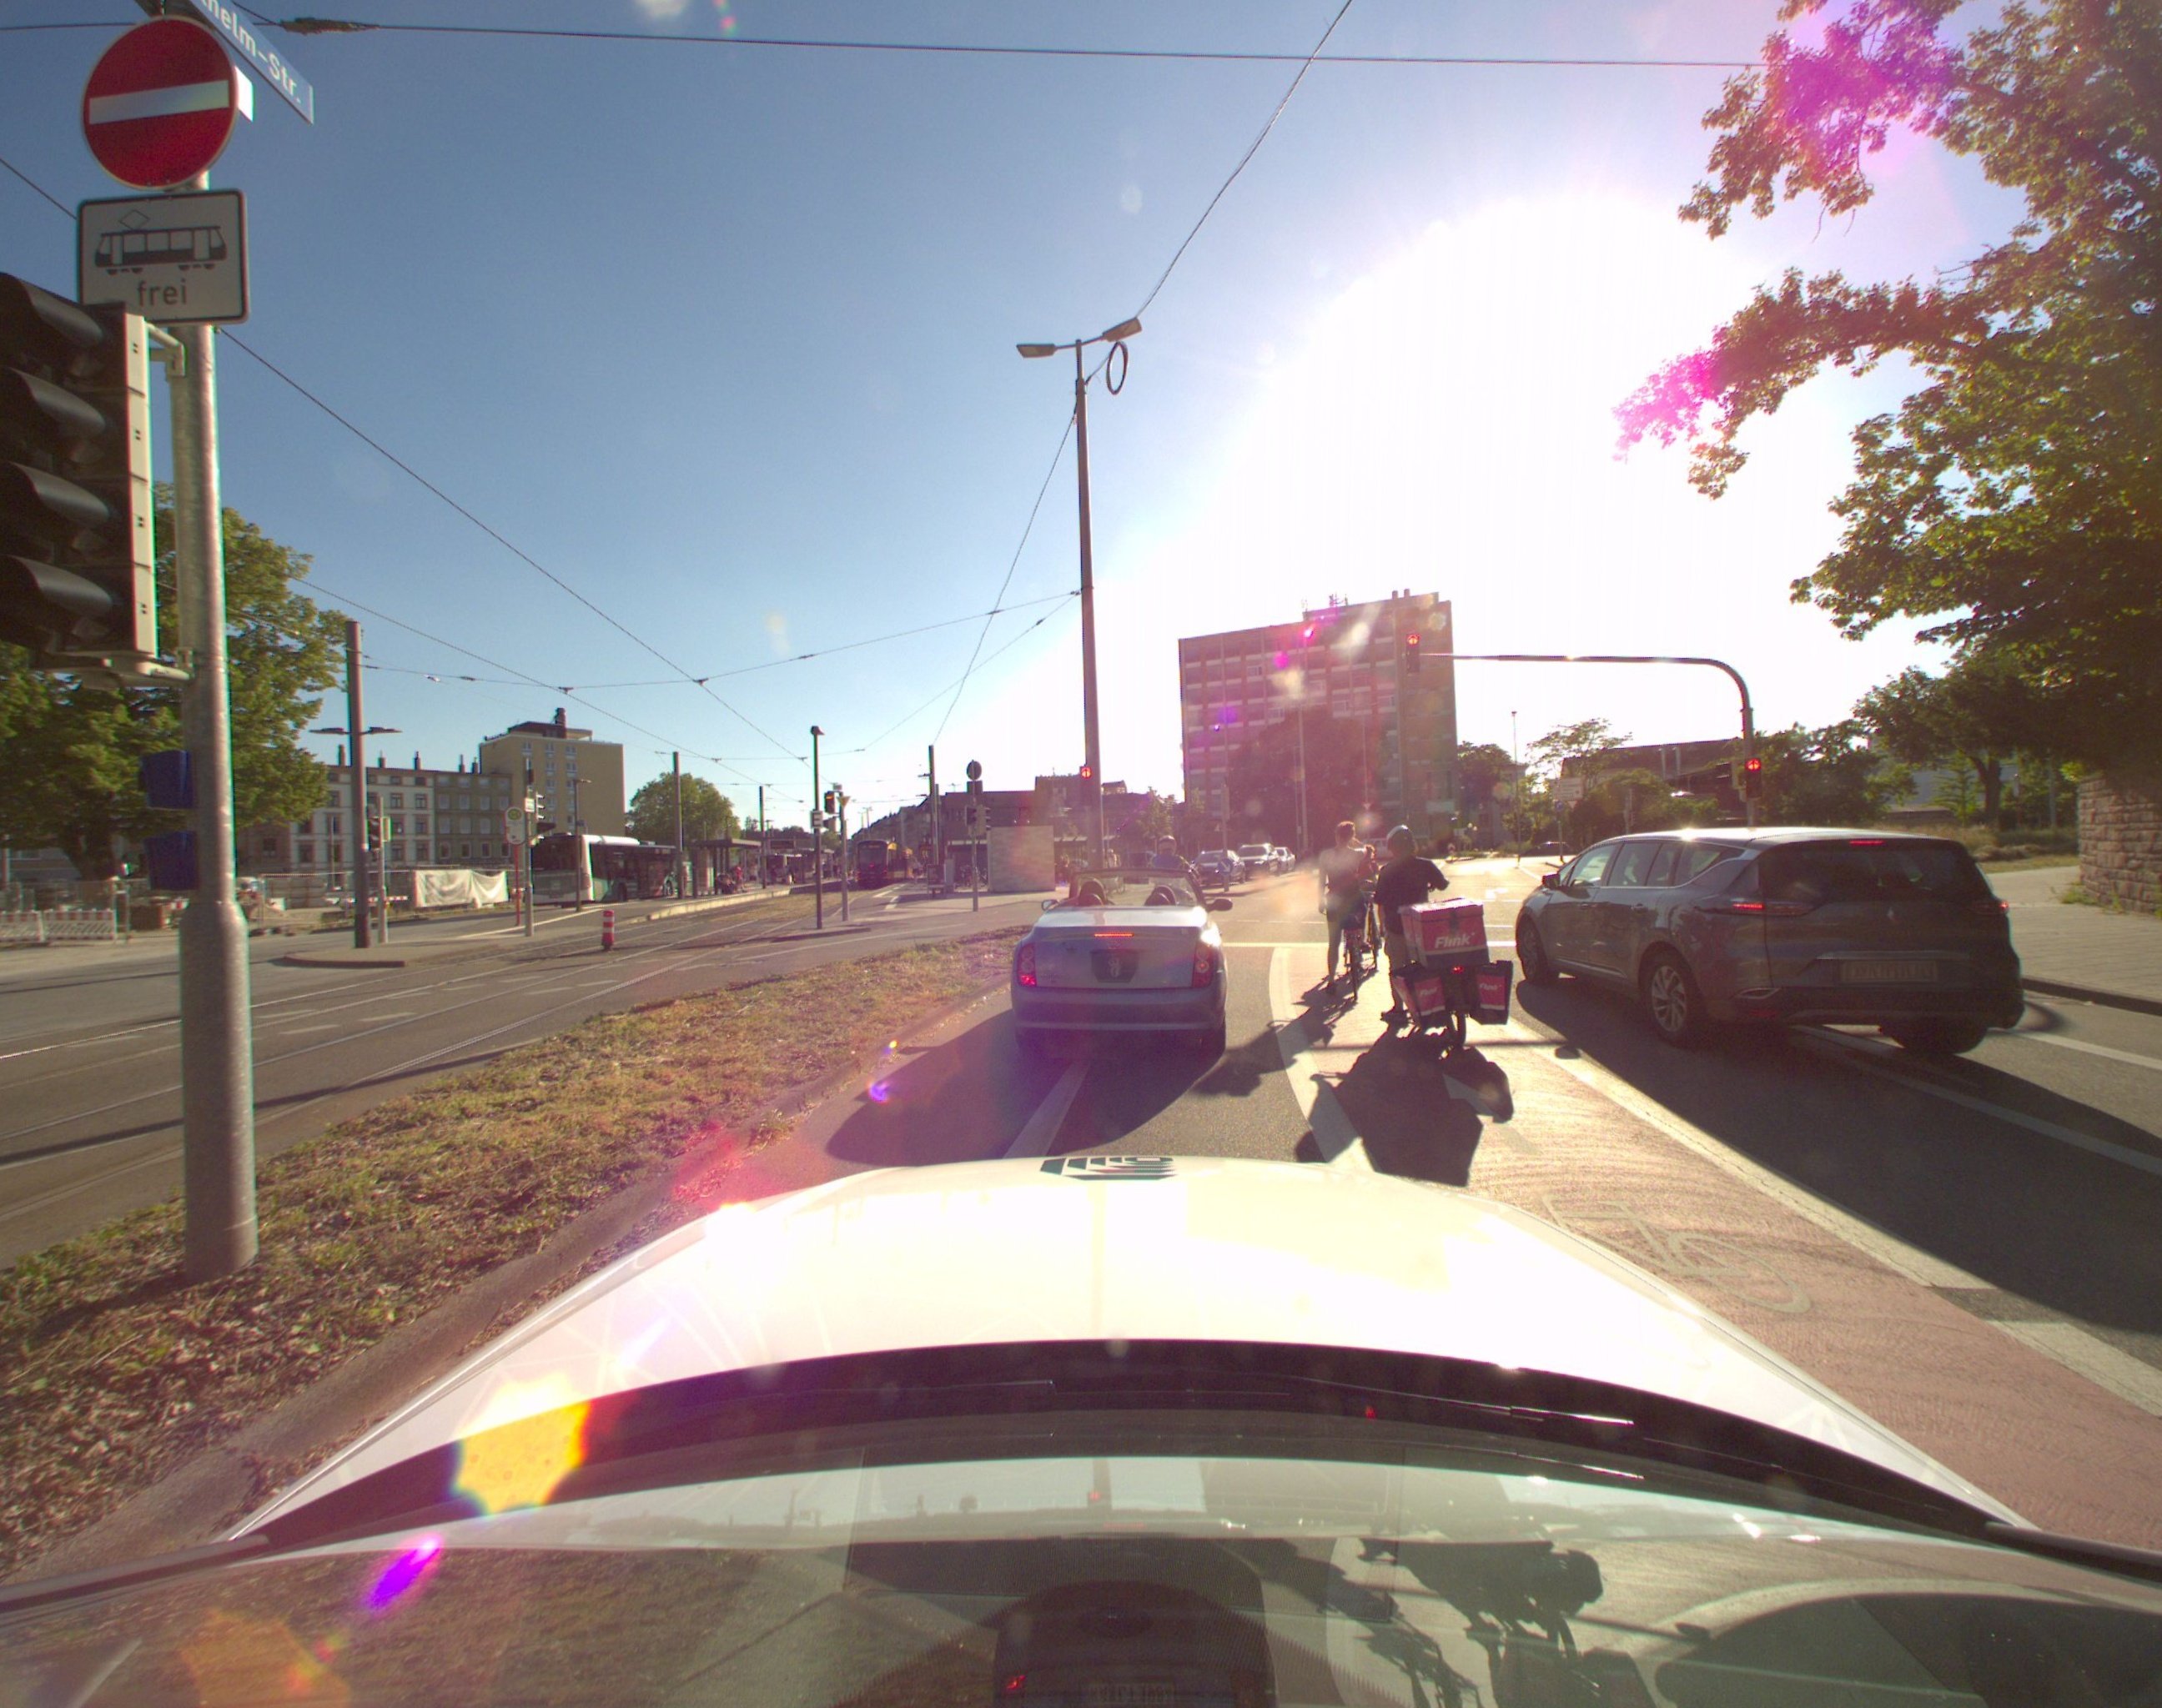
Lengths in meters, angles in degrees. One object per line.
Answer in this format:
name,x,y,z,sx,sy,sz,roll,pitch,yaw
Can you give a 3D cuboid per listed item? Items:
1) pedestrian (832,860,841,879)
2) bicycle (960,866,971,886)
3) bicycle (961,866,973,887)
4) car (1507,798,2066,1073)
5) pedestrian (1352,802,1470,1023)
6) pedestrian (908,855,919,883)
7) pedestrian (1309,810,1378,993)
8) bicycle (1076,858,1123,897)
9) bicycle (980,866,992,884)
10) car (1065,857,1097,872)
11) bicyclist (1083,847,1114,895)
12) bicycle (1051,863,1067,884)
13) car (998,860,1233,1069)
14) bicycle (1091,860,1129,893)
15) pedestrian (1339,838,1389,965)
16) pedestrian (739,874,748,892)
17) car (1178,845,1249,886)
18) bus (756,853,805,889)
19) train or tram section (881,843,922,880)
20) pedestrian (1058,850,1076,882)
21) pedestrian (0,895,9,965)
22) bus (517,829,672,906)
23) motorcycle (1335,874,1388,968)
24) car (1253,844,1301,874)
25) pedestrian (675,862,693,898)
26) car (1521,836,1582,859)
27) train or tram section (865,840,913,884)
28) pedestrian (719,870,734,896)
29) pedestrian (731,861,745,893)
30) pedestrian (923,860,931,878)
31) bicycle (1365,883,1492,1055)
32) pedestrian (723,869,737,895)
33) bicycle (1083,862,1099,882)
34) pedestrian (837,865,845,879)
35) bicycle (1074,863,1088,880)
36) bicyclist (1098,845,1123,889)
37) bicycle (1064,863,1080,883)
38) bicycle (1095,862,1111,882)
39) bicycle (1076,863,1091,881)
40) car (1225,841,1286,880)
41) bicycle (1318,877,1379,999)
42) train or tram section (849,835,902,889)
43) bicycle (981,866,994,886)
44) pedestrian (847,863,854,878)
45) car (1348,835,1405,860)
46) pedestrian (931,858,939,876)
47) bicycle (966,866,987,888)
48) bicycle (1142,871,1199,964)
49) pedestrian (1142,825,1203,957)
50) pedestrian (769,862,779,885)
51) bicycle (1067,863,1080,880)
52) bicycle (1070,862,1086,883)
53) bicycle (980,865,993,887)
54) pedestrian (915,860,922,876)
pedestrian,-22.760,1.445,75.783,0.641,1.749,0.567,-2,-1,-25
bicycle,-6.561,1.251,46.291,0.606,1.115,1.891,0,-1,-8
bicycle,-6.213,1.232,44.356,0.607,1.115,1.890,0,-1,-10
car,5.540,0.523,7.317,1.820,1.689,4.381,-1,-1,10
pedestrian,2.977,0.503,7.444,0.801,1.869,0.959,-1,-1,10
pedestrian,-10.795,0.977,52.488,0.639,1.749,0.569,-2,-1,-17
pedestrian,2.836,0.490,8.836,0.654,1.869,0.876,-1,-1,17
bicycle,0.674,0.811,28.967,0.668,1.250,2.471,-5,-1,24
bicycle,-5.902,1.287,50.621,0.607,1.115,1.890,0,-1,-10
car,-0.031,1.177,88.861,1.653,1.560,3.559,-2,0,-37
bicyclist,0.627,0.596,28.901,0.702,1.657,0.906,-5,-2,24
bicycle,-1.254,1.082,45.292,0.607,1.115,1.890,0,-1,-10
car,0.548,0.783,7.793,1.650,1.441,4.164,-1,-1,9
bicycle,1.153,0.847,31.570,0.668,1.180,2.195,-3,0,24
pedestrian,3.770,0.606,10.842,0.583,1.598,1.030,-1,-1,19
pedestrian,-34.383,2.968,83.031,0.638,1.749,0.570,-2,-1,-10
car,5.547,0.469,33.640,1.720,1.574,3.948,-1,-1,28
bus,-29.669,1.588,80.945,2.723,3.274,13.409,0,-1,-12
train or tram section,-18.602,0.814,85.226,3.037,3.597,12.021,0,0,-7
pedestrian,-0.807,0.686,46.929,0.901,1.869,0.684,0,-1,-11
pedestrian,-26.258,1.835,19.276,0.712,1.697,0.893,-3,-2,-25
bus,-22.371,0.574,38.219,2.652,3.135,9.617,0,-1,-8
motorcycle,3.827,0.844,11.102,0.608,1.097,2.371,-1,-1,19
car,11.166,0.251,46.214,1.678,1.560,4.004,-3,0,28
pedestrian,-19.621,1.273,40.261,0.536,1.749,0.559,-2,-1,-4
car,43.680,-0.622,75.607,4.645,1.945,1.927,-3,-1,35
train or tram section,-17.067,0.706,73.254,3.010,3.597,12.165,0,-1,-8
pedestrian,-18.603,1.521,42.773,0.617,1.340,0.438,-2,-1,-15
pedestrian,-19.111,1.276,45.336,0.571,1.749,0.636,-2,-1,-15
pedestrian,-15.164,1.448,80.134,0.639,1.749,0.732,-2,-1,-17
bicycle,2.934,0.873,7.092,0.550,1.171,2.380,-1,-1,12
pedestrian,-18.733,1.475,43.460,0.571,1.346,0.636,-2,-1,-15
bicycle,0.556,1.056,47.711,0.607,1.115,1.890,0,-1,-10
pedestrian,-29.718,2.227,100.842,0.732,1.749,0.638,-2,-1,-6
bicycle,-0.031,1.133,53.388,0.607,1.115,1.890,0,-1,-10
bicyclist,1.146,0.490,31.599,0.702,1.657,0.747,-3,-1,24
bicycle,-0.542,1.093,47.349,0.607,1.115,1.890,0,-1,-10
bicycle,1.238,1.007,45.677,0.606,1.115,1.892,0,-1,-7
bicycle,0.130,1.138,51.411,0.607,1.115,1.890,0,-1,-10
car,8.559,0.270,39.666,1.745,1.706,4.557,-4,-1,26
bicycle,2.933,0.852,9.019,0.559,1.151,1.958,-1,-1,17
train or tram section,-15.262,0.583,61.213,2.881,3.597,12.158,0,-1,-10
bicycle,-5.375,1.225,46.732,0.607,1.115,1.890,0,-1,-10
pedestrian,-28.419,2.000,100.327,0.735,1.749,0.637,-2,-1,-14
car,25.418,-0.528,70.108,4.718,1.945,1.897,-2,0,-28
pedestrian,-14.512,1.310,80.703,0.639,1.749,0.732,-2,-1,-17
bicycle,-5.467,1.204,42.733,0.603,1.115,1.901,-1,-1,8
bicycle,1.357,0.866,11.984,0.604,1.191,2.422,-1,-1,12
pedestrian,1.369,0.527,12.054,0.828,1.869,0.923,-1,-1,10
pedestrian,-24.189,1.548,64.159,0.641,1.749,0.567,-2,-1,-25
bicycle,-0.558,1.205,56.908,0.607,1.115,1.890,0,-1,-10
bicycle,-0.179,1.015,45.408,0.607,1.115,1.890,0,-1,-10
bicycle,-5.178,1.194,44.662,0.607,1.115,1.890,0,-1,-10
pedestrian,-18.073,1.531,90.532,0.604,1.749,0.830,-2,-1,-6
